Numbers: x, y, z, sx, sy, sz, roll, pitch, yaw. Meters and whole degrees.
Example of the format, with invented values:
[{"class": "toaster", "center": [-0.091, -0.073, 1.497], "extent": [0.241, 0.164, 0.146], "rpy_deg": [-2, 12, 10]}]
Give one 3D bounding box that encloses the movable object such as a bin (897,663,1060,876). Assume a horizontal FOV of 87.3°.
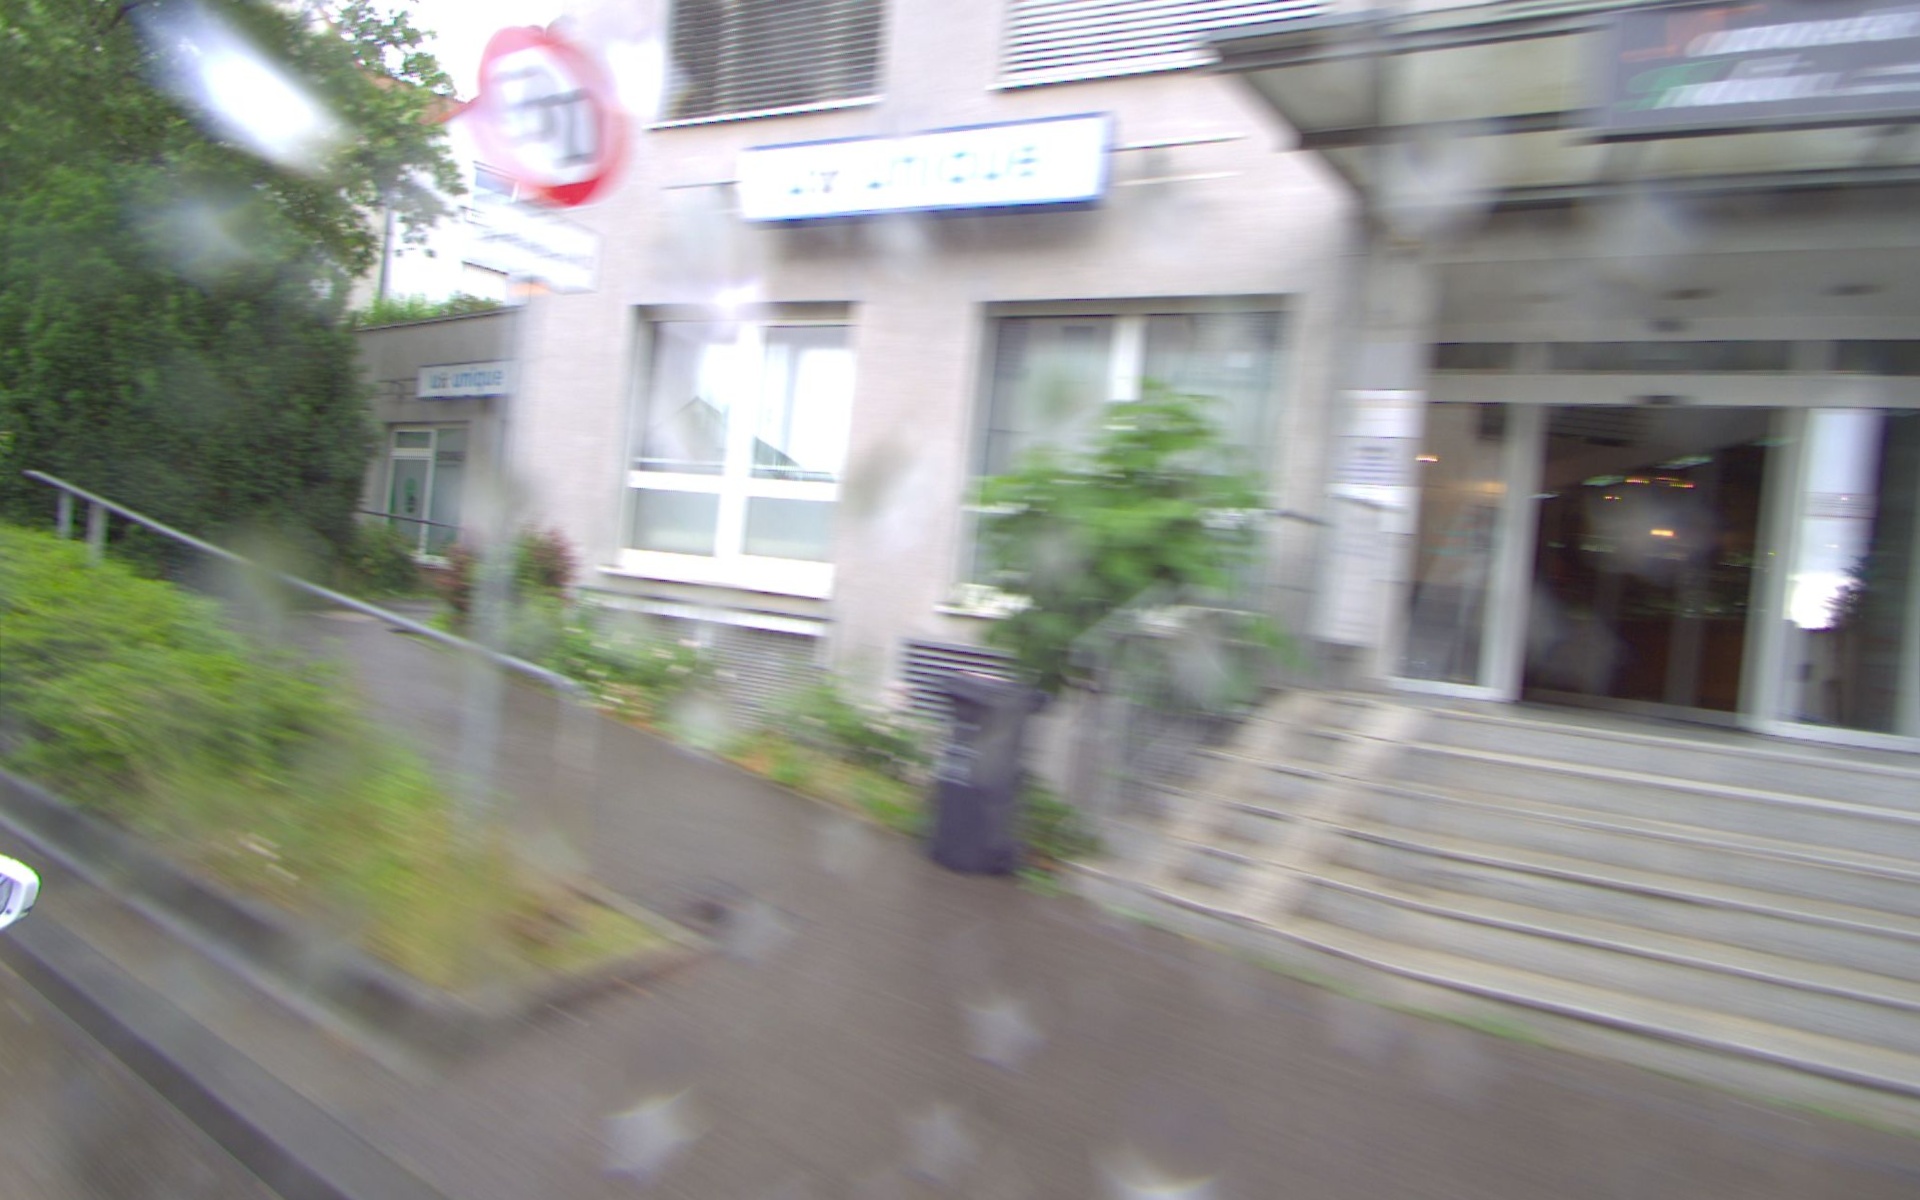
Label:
[{"class": "movable object such as a bin", "center": [0.091, 0.826, 5.023], "extent": [0.485, 0.921, 0.481], "rpy_deg": [12, 3, 42]}]
